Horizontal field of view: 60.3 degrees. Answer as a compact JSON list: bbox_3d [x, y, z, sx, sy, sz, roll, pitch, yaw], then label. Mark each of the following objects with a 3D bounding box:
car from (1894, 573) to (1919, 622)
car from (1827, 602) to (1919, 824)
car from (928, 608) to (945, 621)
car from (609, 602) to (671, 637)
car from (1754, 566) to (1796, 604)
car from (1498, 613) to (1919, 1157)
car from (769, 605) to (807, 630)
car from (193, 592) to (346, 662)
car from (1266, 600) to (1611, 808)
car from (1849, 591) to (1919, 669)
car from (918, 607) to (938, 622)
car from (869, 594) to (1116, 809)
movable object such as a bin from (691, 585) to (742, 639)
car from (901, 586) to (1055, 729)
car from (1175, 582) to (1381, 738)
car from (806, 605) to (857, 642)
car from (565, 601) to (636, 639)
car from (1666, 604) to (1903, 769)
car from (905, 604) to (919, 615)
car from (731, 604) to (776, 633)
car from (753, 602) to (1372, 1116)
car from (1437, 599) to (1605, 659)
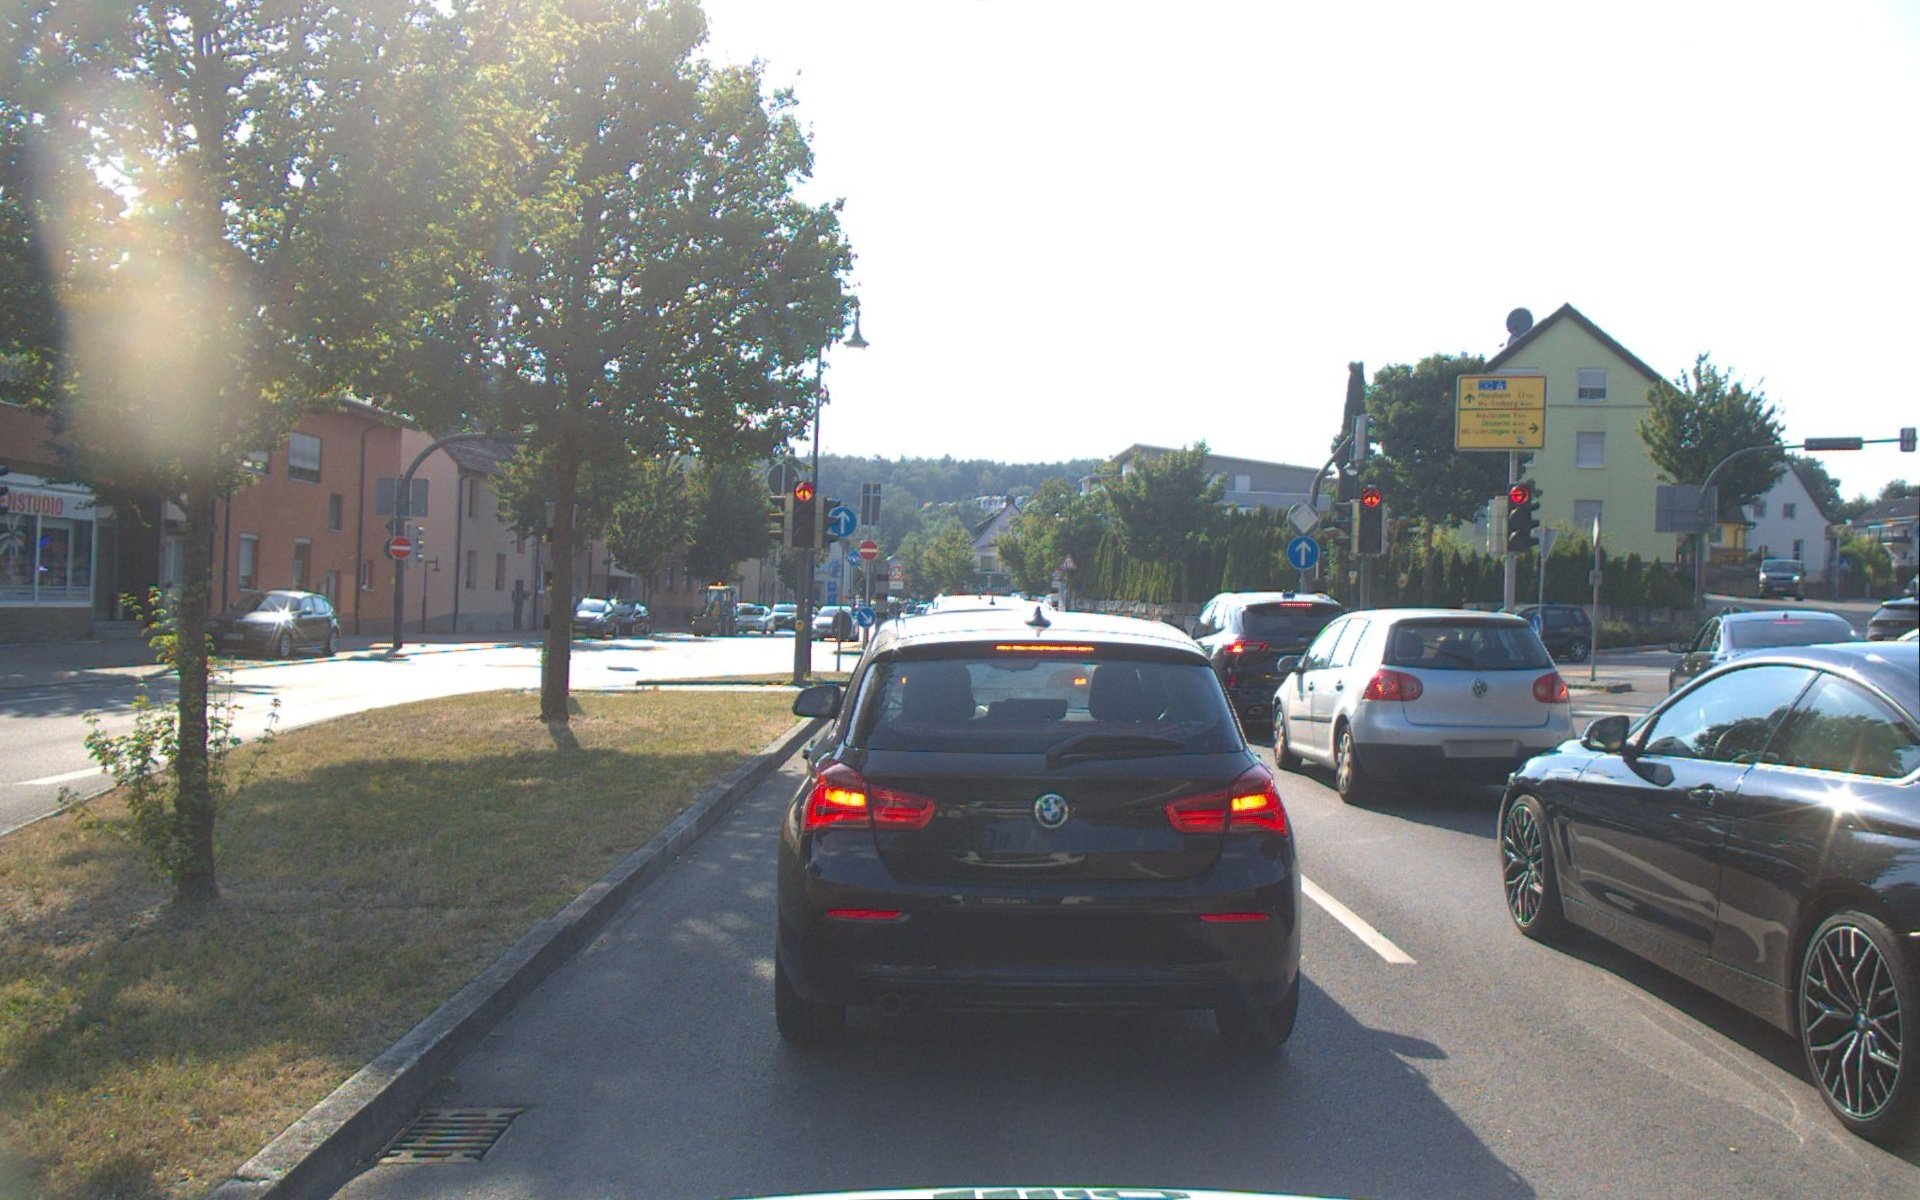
[{"bbox_3d":[33.767,-0.063,57.506,1.805,1.670,4.428,1,0,24],"label":"car"},{"bbox_3d":[7.614,0.804,11.636,1.583,1.569,3.320,-1,0,6],"label":"car"},{"bbox_3d":[-2.758,1.719,197.845,1.701,1.323,3.800,5,0,2],"label":"car"},{"bbox_3d":[-14.116,0.833,73.195,1.701,1.323,4.001,5,0,2],"label":"car"},{"bbox_3d":[40.151,-0.705,81.504,1.806,1.770,4.779,1,0,26],"label":"car"},{"bbox_3d":[3.464,0.790,5.827,1.725,1.422,4.280,-1,0,0],"label":"car"},{"bbox_3d":[-10.548,1.047,101.720,1.701,1.323,3.800,5,0,2],"label":"car"},{"bbox_3d":[-15.480,0.571,37.300,1.702,1.323,3.999,5,0,-1],"label":"car"},{"bbox_3d":[3.785,0.744,13.783,1.725,1.451,3.902,-1,0,0],"label":"car"},{"bbox_3d":[22.365,0.648,37.498,4.152,1.709,1.953,0,0,-28],"label":"car"},{"bbox_3d":[-3.357,1.519,174.123,1.701,1.323,3.800,5,0,2],"label":"car"},{"bbox_3d":[0.230,0.718,13.992,1.751,1.520,4.280,-1,0,0],"label":"car"},{"bbox_3d":[-11.467,0.566,78.075,1.701,2.485,4.449,0,0,0],"label":"movable object such as a bin"},{"bbox_3d":[0.200,0.651,21.032,1.751,1.622,4.280,-1,0,0],"label":"car"},{"bbox_3d":[3.738,0.652,20.066,1.725,1.685,3.902,-1,0,0],"label":"car"},{"bbox_3d":[-5.489,0.994,71.012,1.801,1.508,4.000,1,0,0],"label":"car"},{"bbox_3d":[-14.508,0.800,66.914,1.701,1.323,4.001,5,0,3],"label":"car"},{"bbox_3d":[9.038,0.858,18.469,1.621,1.569,4.401,-1,0,17],"label":"car"},{"bbox_3d":[-6.787,1.320,233.339,1.701,1.323,3.800,5,0,2],"label":"car"},{"bbox_3d":[-11.082,0.978,88.932,1.701,1.323,3.800,5,0,2],"label":"car"},{"bbox_3d":[0.289,0.739,6.847,1.751,1.422,4.280,-1,0,0],"label":"car"},{"bbox_3d":[15.160,0.768,44.843,3.907,1.515,1.847,1,0,-3],"label":"car"}]
